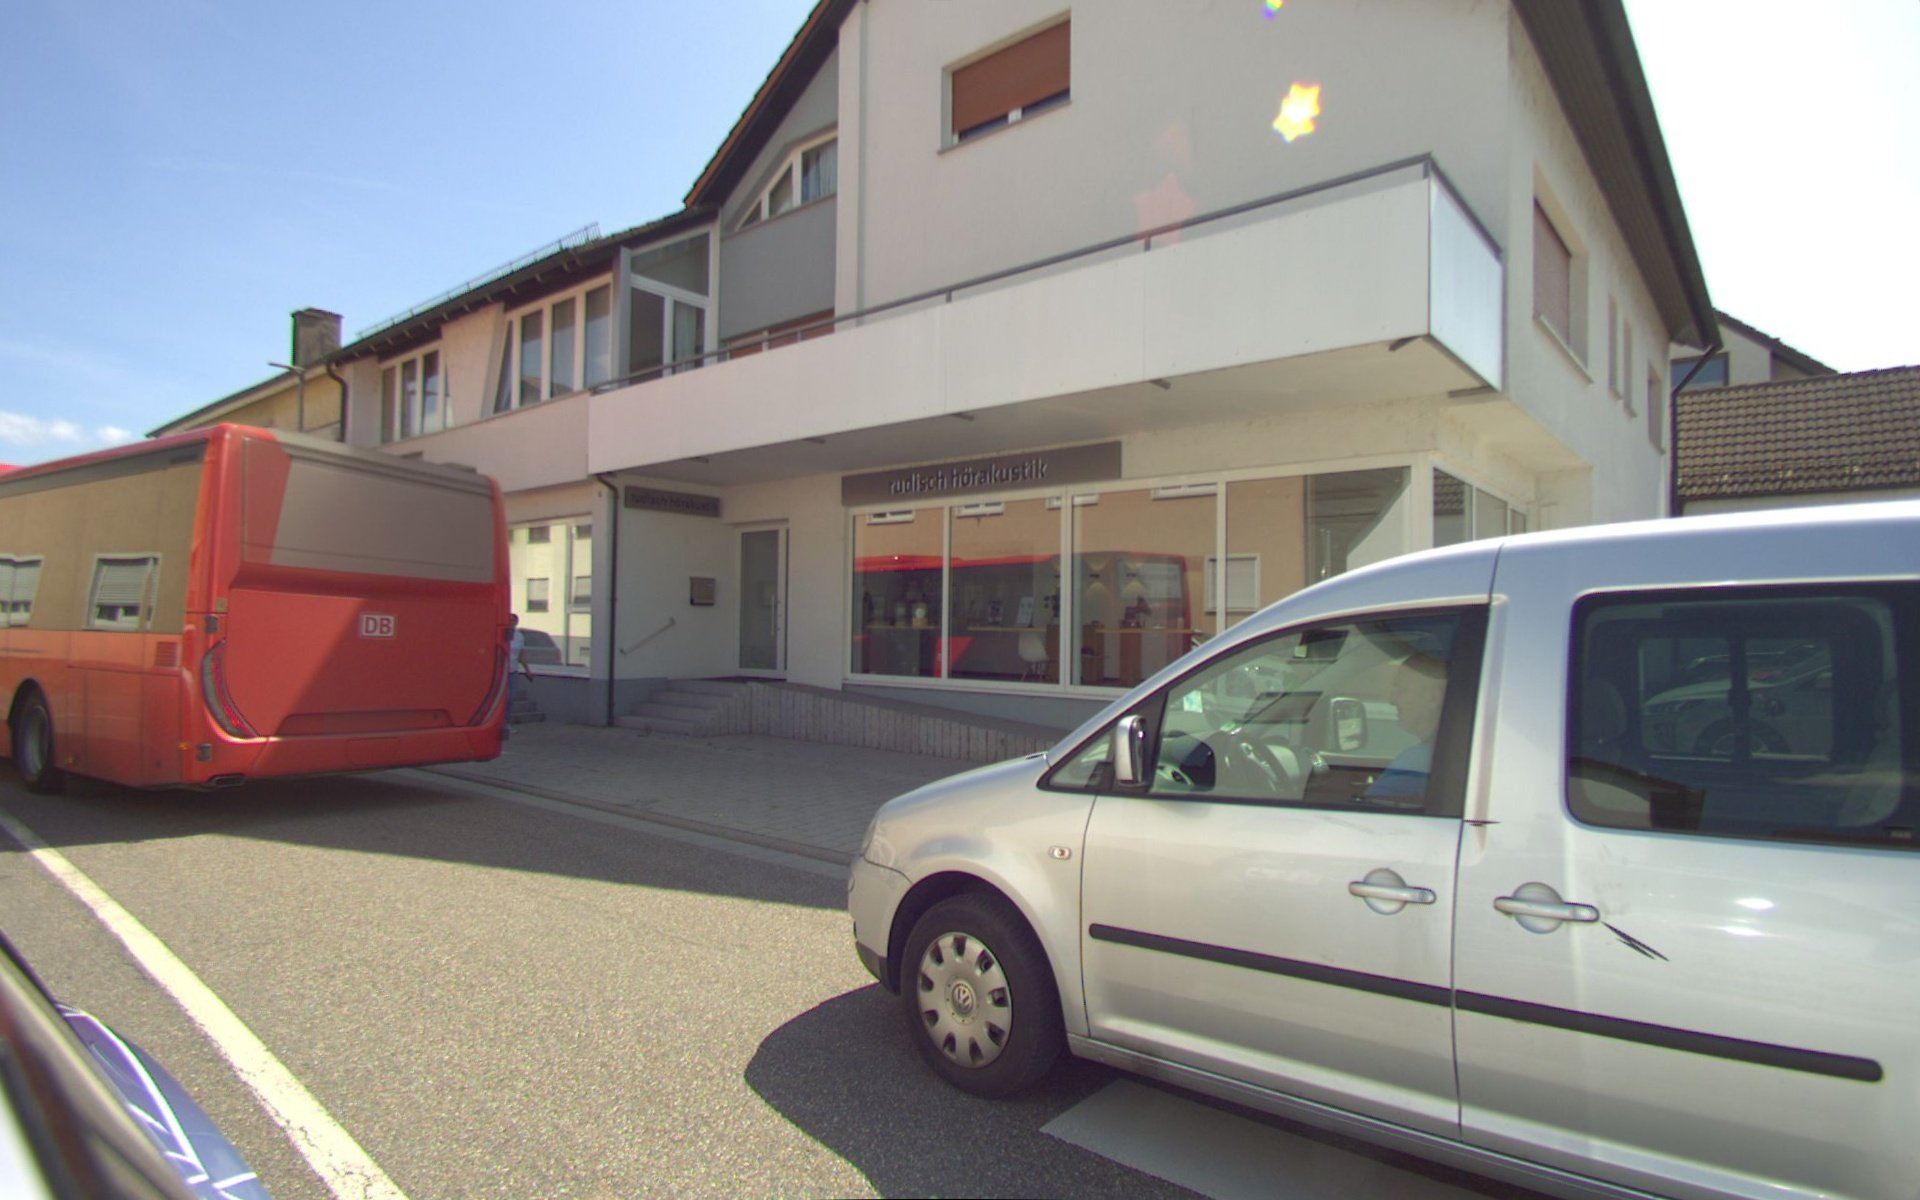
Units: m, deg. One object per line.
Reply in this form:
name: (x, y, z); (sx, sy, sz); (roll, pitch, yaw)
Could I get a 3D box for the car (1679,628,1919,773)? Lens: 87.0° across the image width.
car: (10.498, 1.087, 11.300); (3.959, 1.488, 1.730); (0, -2, 39)

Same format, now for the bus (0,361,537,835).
bus: (-9.646, 0.087, 11.256); (11.983, 3.257, 2.606); (-1, -4, 32)

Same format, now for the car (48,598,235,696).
car: (-14.844, 0.774, 18.293); (3.994, 1.527, 1.727); (-1, 2, 38)

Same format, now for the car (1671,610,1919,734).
car: (13.882, 1.061, 15.550); (4.743, 1.752, 1.961); (0, -2, 39)

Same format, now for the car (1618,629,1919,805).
car: (8.761, 1.030, 9.255); (4.473, 1.462, 1.812); (0, -2, 39)

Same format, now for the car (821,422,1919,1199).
car: (1.799, 0.646, 2.884); (4.436, 1.835, 1.754); (-1, -4, 39)
